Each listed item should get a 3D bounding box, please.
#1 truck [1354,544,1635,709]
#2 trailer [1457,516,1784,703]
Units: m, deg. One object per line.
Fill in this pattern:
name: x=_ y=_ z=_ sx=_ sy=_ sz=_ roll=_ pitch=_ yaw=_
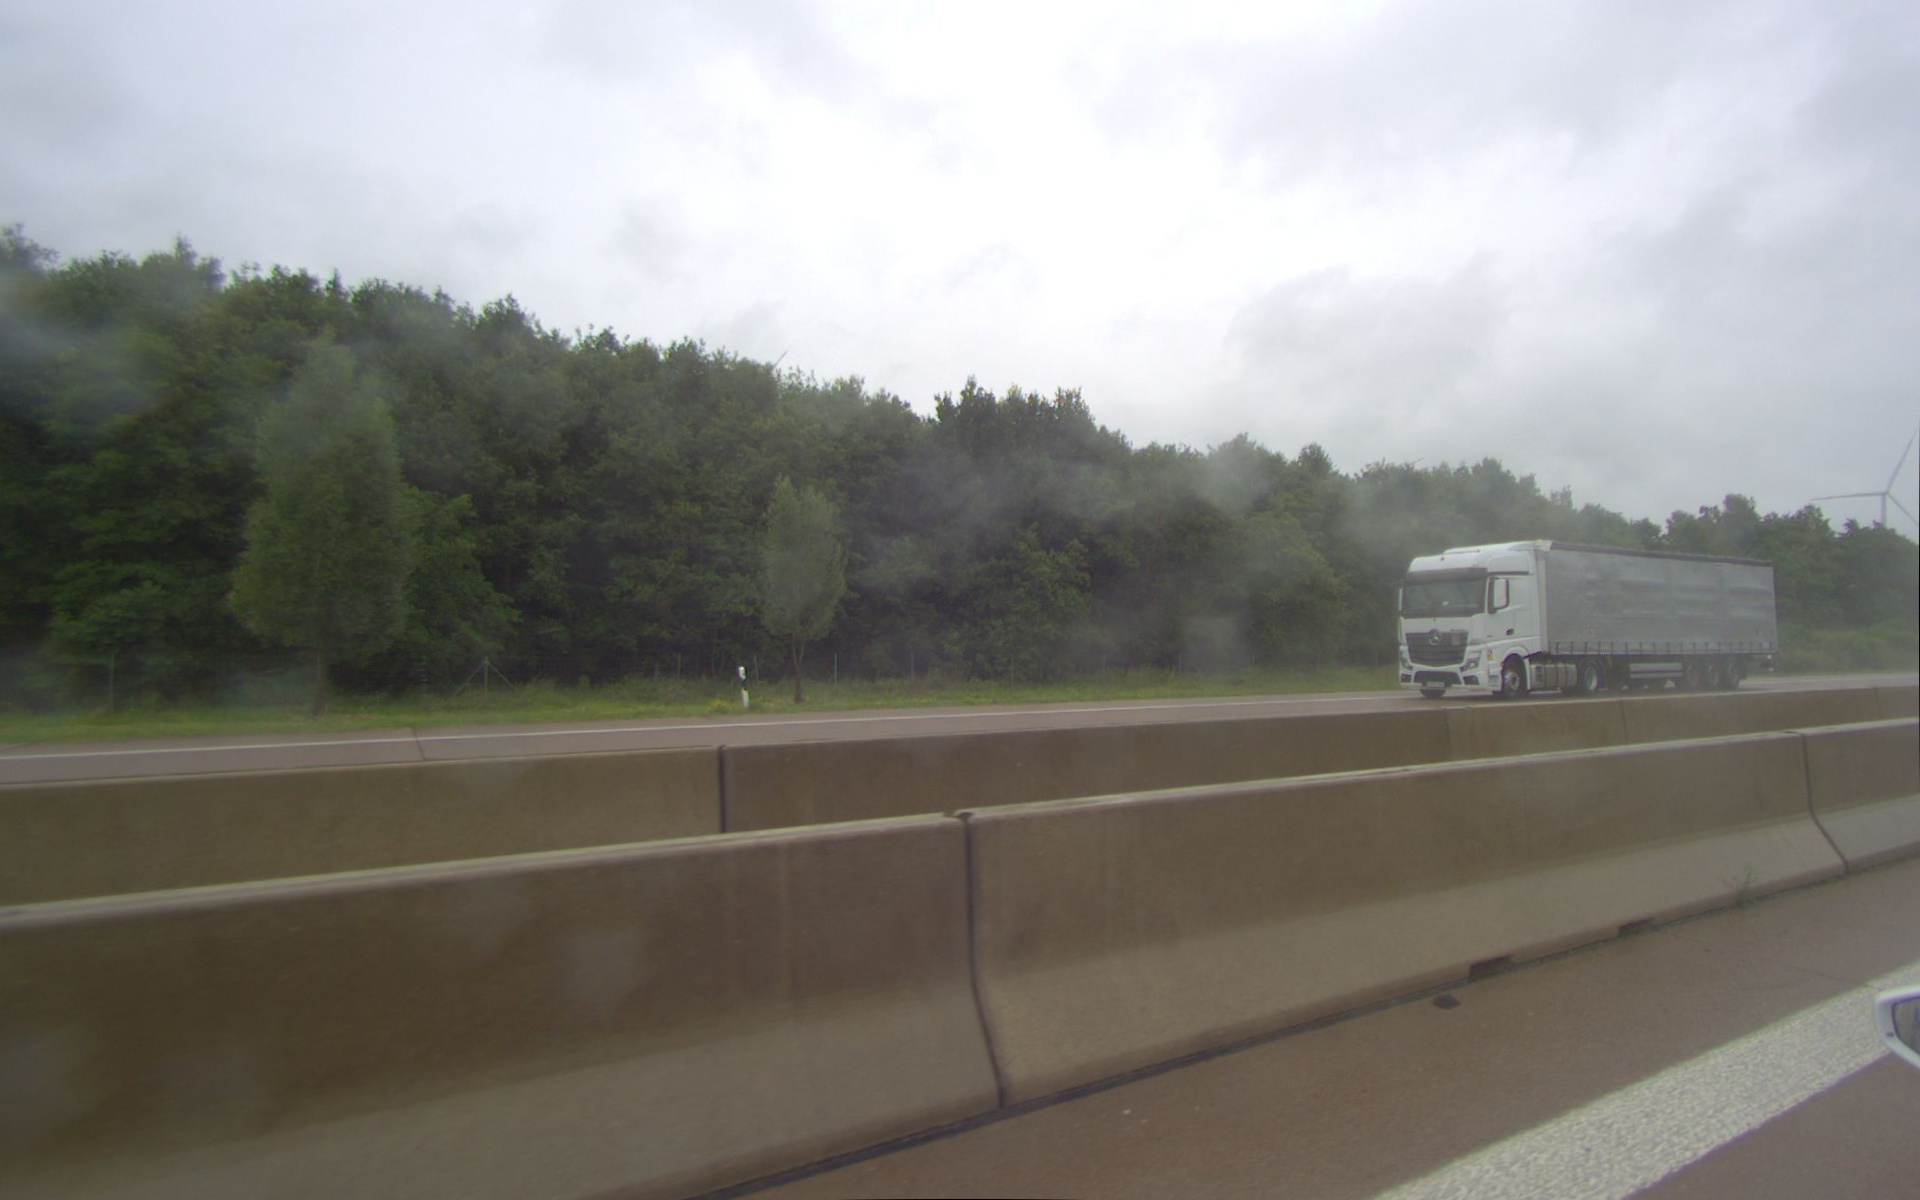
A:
truck: x=14.680 y=0.722 z=27.456 sx=7.379 sy=3.940 sz=3.455 roll=2 pitch=0 yaw=-31
trailer: x=20.732 y=0.421 z=31.107 sx=12.303 sy=4.931 sz=3.413 roll=2 pitch=0 yaw=-31
